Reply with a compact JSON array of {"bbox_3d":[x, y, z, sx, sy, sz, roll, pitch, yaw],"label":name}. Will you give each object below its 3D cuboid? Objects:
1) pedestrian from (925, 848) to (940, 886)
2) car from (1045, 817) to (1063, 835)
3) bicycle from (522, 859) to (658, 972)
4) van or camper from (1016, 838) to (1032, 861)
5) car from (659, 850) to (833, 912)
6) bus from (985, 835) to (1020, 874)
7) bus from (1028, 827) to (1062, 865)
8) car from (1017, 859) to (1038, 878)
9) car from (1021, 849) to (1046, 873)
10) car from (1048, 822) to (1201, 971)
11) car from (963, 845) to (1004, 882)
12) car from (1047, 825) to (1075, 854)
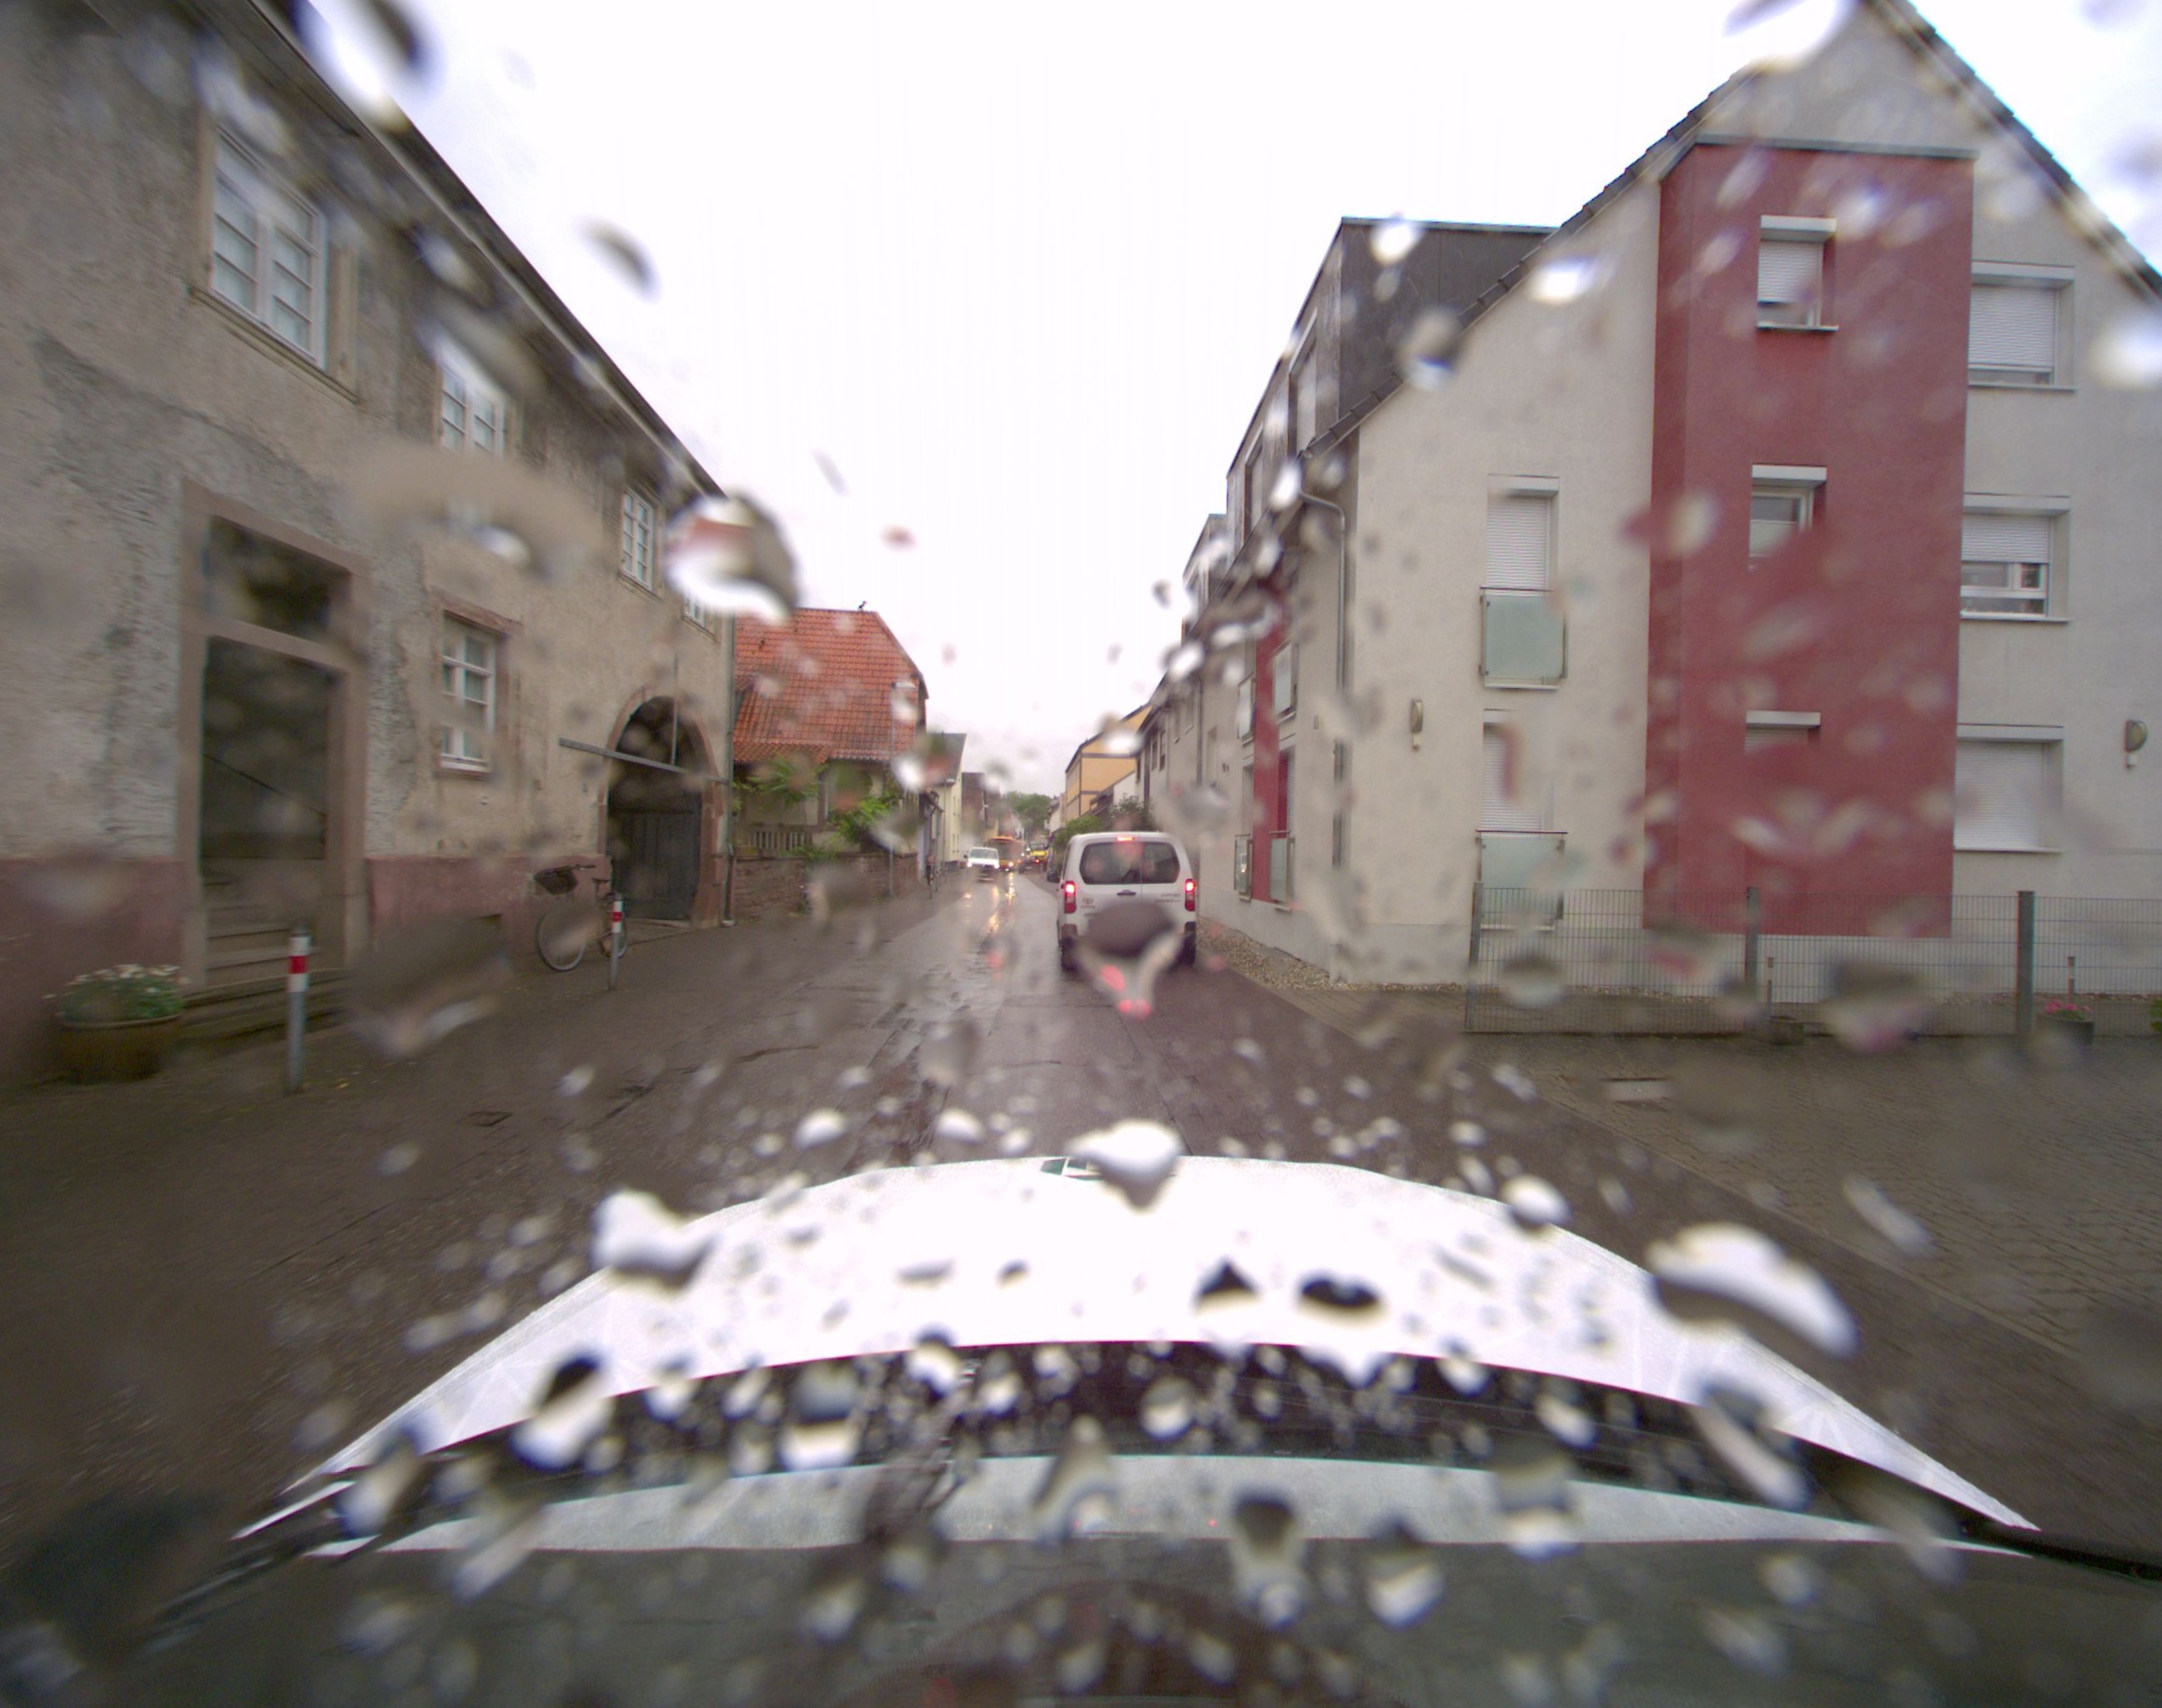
[{"bbox_3d":[-5.990,0.511,32.900,0.568,1.530,0.566,0,-1,-13],"label":"pedestrian"},{"bbox_3d":[-3.320,-3.384,99.409,1.989,2.014,3.996,2,-1,-2],"label":"car"},{"bbox_3d":[-5.694,0.667,9.570,0.482,1.180,1.834,2,-1,-2],"label":"bicycle"},{"bbox_3d":[-7.852,-0.589,112.490,1.830,2.926,5.358,2,-1,-2],"label":"van or camper"},{"bbox_3d":[-8.044,0.625,19.781,3.518,1.376,1.593,1,0,-2],"label":"car"},{"bbox_3d":[-7.273,0.058,76.121,2.788,3.329,8.166,3,-1,-4],"label":"bus"},{"bbox_3d":[-3.390,-0.623,74.945,2.788,3.180,8.166,3,-1,-4],"label":"bus"},{"bbox_3d":[-4.265,1.140,64.976,1.558,1.371,3.581,2,-1,-3],"label":"car"},{"bbox_3d":[-3.185,0.487,54.634,1.558,1.480,3.580,2,-1,-3],"label":"car"},{"bbox_3d":[0.469,0.537,12.160,1.791,1.819,4.095,-1,-1,-4],"label":"car"},{"bbox_3d":[-5.608,0.550,47.425,1.887,1.967,4.719,2,-1,-2],"label":"car"},{"bbox_3d":[-1.508,-1.043,60.433,1.823,2.014,3.688,2,-1,-4],"label":"car"}]
